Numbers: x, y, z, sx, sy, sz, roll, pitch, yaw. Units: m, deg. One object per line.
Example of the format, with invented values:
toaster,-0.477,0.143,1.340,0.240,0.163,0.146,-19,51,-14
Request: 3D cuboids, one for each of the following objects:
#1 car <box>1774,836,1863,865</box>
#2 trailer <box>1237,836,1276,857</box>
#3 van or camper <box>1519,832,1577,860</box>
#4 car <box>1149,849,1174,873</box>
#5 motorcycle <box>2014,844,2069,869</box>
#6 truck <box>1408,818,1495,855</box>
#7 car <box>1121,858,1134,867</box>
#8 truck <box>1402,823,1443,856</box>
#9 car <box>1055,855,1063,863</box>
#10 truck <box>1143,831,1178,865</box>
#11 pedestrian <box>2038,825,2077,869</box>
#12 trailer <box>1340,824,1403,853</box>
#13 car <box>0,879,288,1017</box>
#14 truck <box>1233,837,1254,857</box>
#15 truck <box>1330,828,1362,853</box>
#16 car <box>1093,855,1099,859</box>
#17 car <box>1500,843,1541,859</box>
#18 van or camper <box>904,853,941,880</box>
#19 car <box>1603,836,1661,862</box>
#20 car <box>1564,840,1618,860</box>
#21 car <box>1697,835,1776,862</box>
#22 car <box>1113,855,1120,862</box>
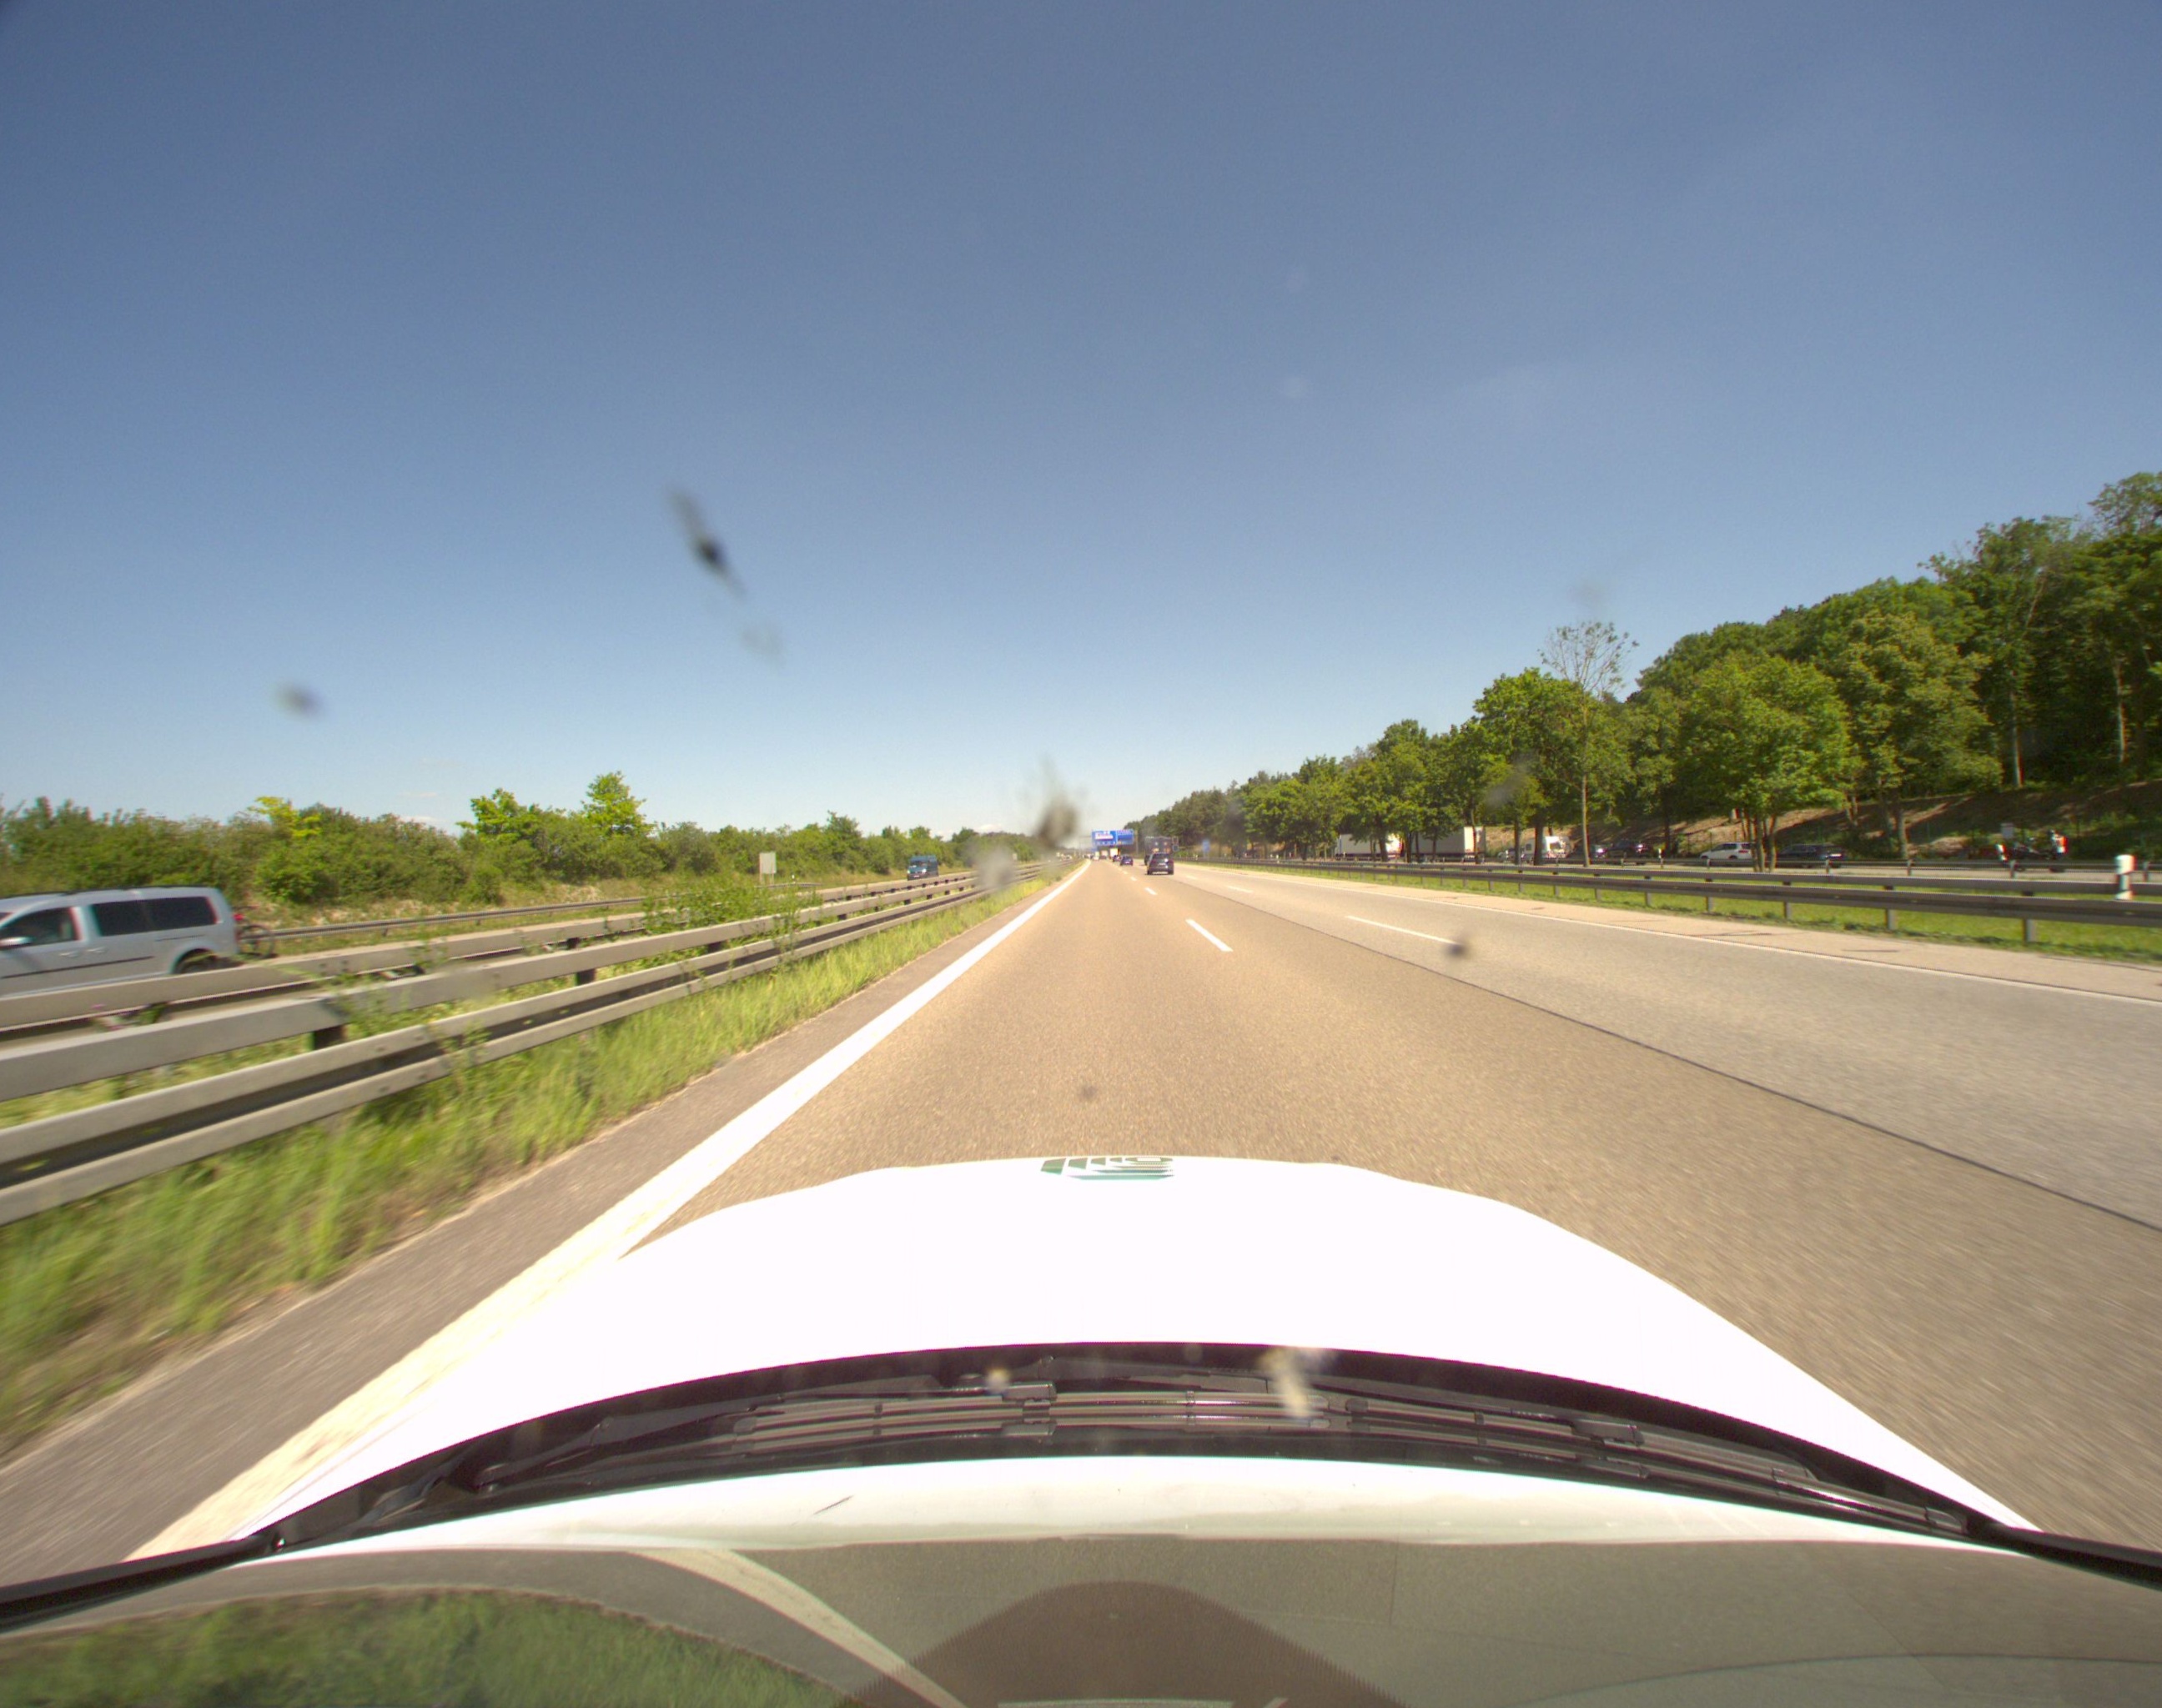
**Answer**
car,42.896,-0.206,47.499,1.981,1.574,4.011,-2,0,10
trailer,35.032,-1.421,163.263,2.573,3.915,12.697,-1,0,-11
van or camper,43.806,-0.713,76.578,2.195,2.530,5.878,-2,0,2
car,6.005,0.507,60.835,1.791,1.669,4.264,-1,0,5
motorcycle,42.229,0.101,35.815,0.555,1.030,1.676,-2,0,8
truck,43.729,-1.872,96.950,2.989,3.931,14.444,-2,0,-3
car,6.541,1.127,114.638,1.702,1.155,3.691,-2,0,2
truck,43.424,-1.800,103.631,2.964,3.931,4.828,-2,0,-3
car,-5.834,1.299,215.977,1.986,2.109,4.303,-3,0,1
truck,10.841,-0.777,112.544,3.766,4.422,14.057,-1,0,2
pedestrian,41.234,-0.296,34.404,0.792,1.782,0.645,-2,0,15
trailer,41.974,-2.097,118.567,2.854,3.796,14.162,-1,0,-5
car,-16.348,1.472,13.006,1.987,1.835,5.333,-4,0,0
truck,33.788,-1.422,169.437,2.573,3.915,4.846,-1,0,-12
truck,41.199,-2.051,126.582,2.805,3.796,5.135,-1,0,-6
car,4.149,0.818,227.778,1.465,1.227,3.412,-2,0,2
car,44.321,-0.281,82.221,1.650,1.597,4.556,-2,0,1
van or camper,-14.973,1.152,77.439,1.986,2.392,6.243,-3,0,2
car,43.084,-0.376,63.822,1.647,1.877,4.808,-2,0,6
car,43.527,-0.318,69.609,1.651,1.642,4.494,-2,0,-1
car,43.328,-0.321,53.989,1.649,1.675,4.655,-2,0,3
car,7.524,1.011,173.816,1.465,1.398,3.412,1,0,2
